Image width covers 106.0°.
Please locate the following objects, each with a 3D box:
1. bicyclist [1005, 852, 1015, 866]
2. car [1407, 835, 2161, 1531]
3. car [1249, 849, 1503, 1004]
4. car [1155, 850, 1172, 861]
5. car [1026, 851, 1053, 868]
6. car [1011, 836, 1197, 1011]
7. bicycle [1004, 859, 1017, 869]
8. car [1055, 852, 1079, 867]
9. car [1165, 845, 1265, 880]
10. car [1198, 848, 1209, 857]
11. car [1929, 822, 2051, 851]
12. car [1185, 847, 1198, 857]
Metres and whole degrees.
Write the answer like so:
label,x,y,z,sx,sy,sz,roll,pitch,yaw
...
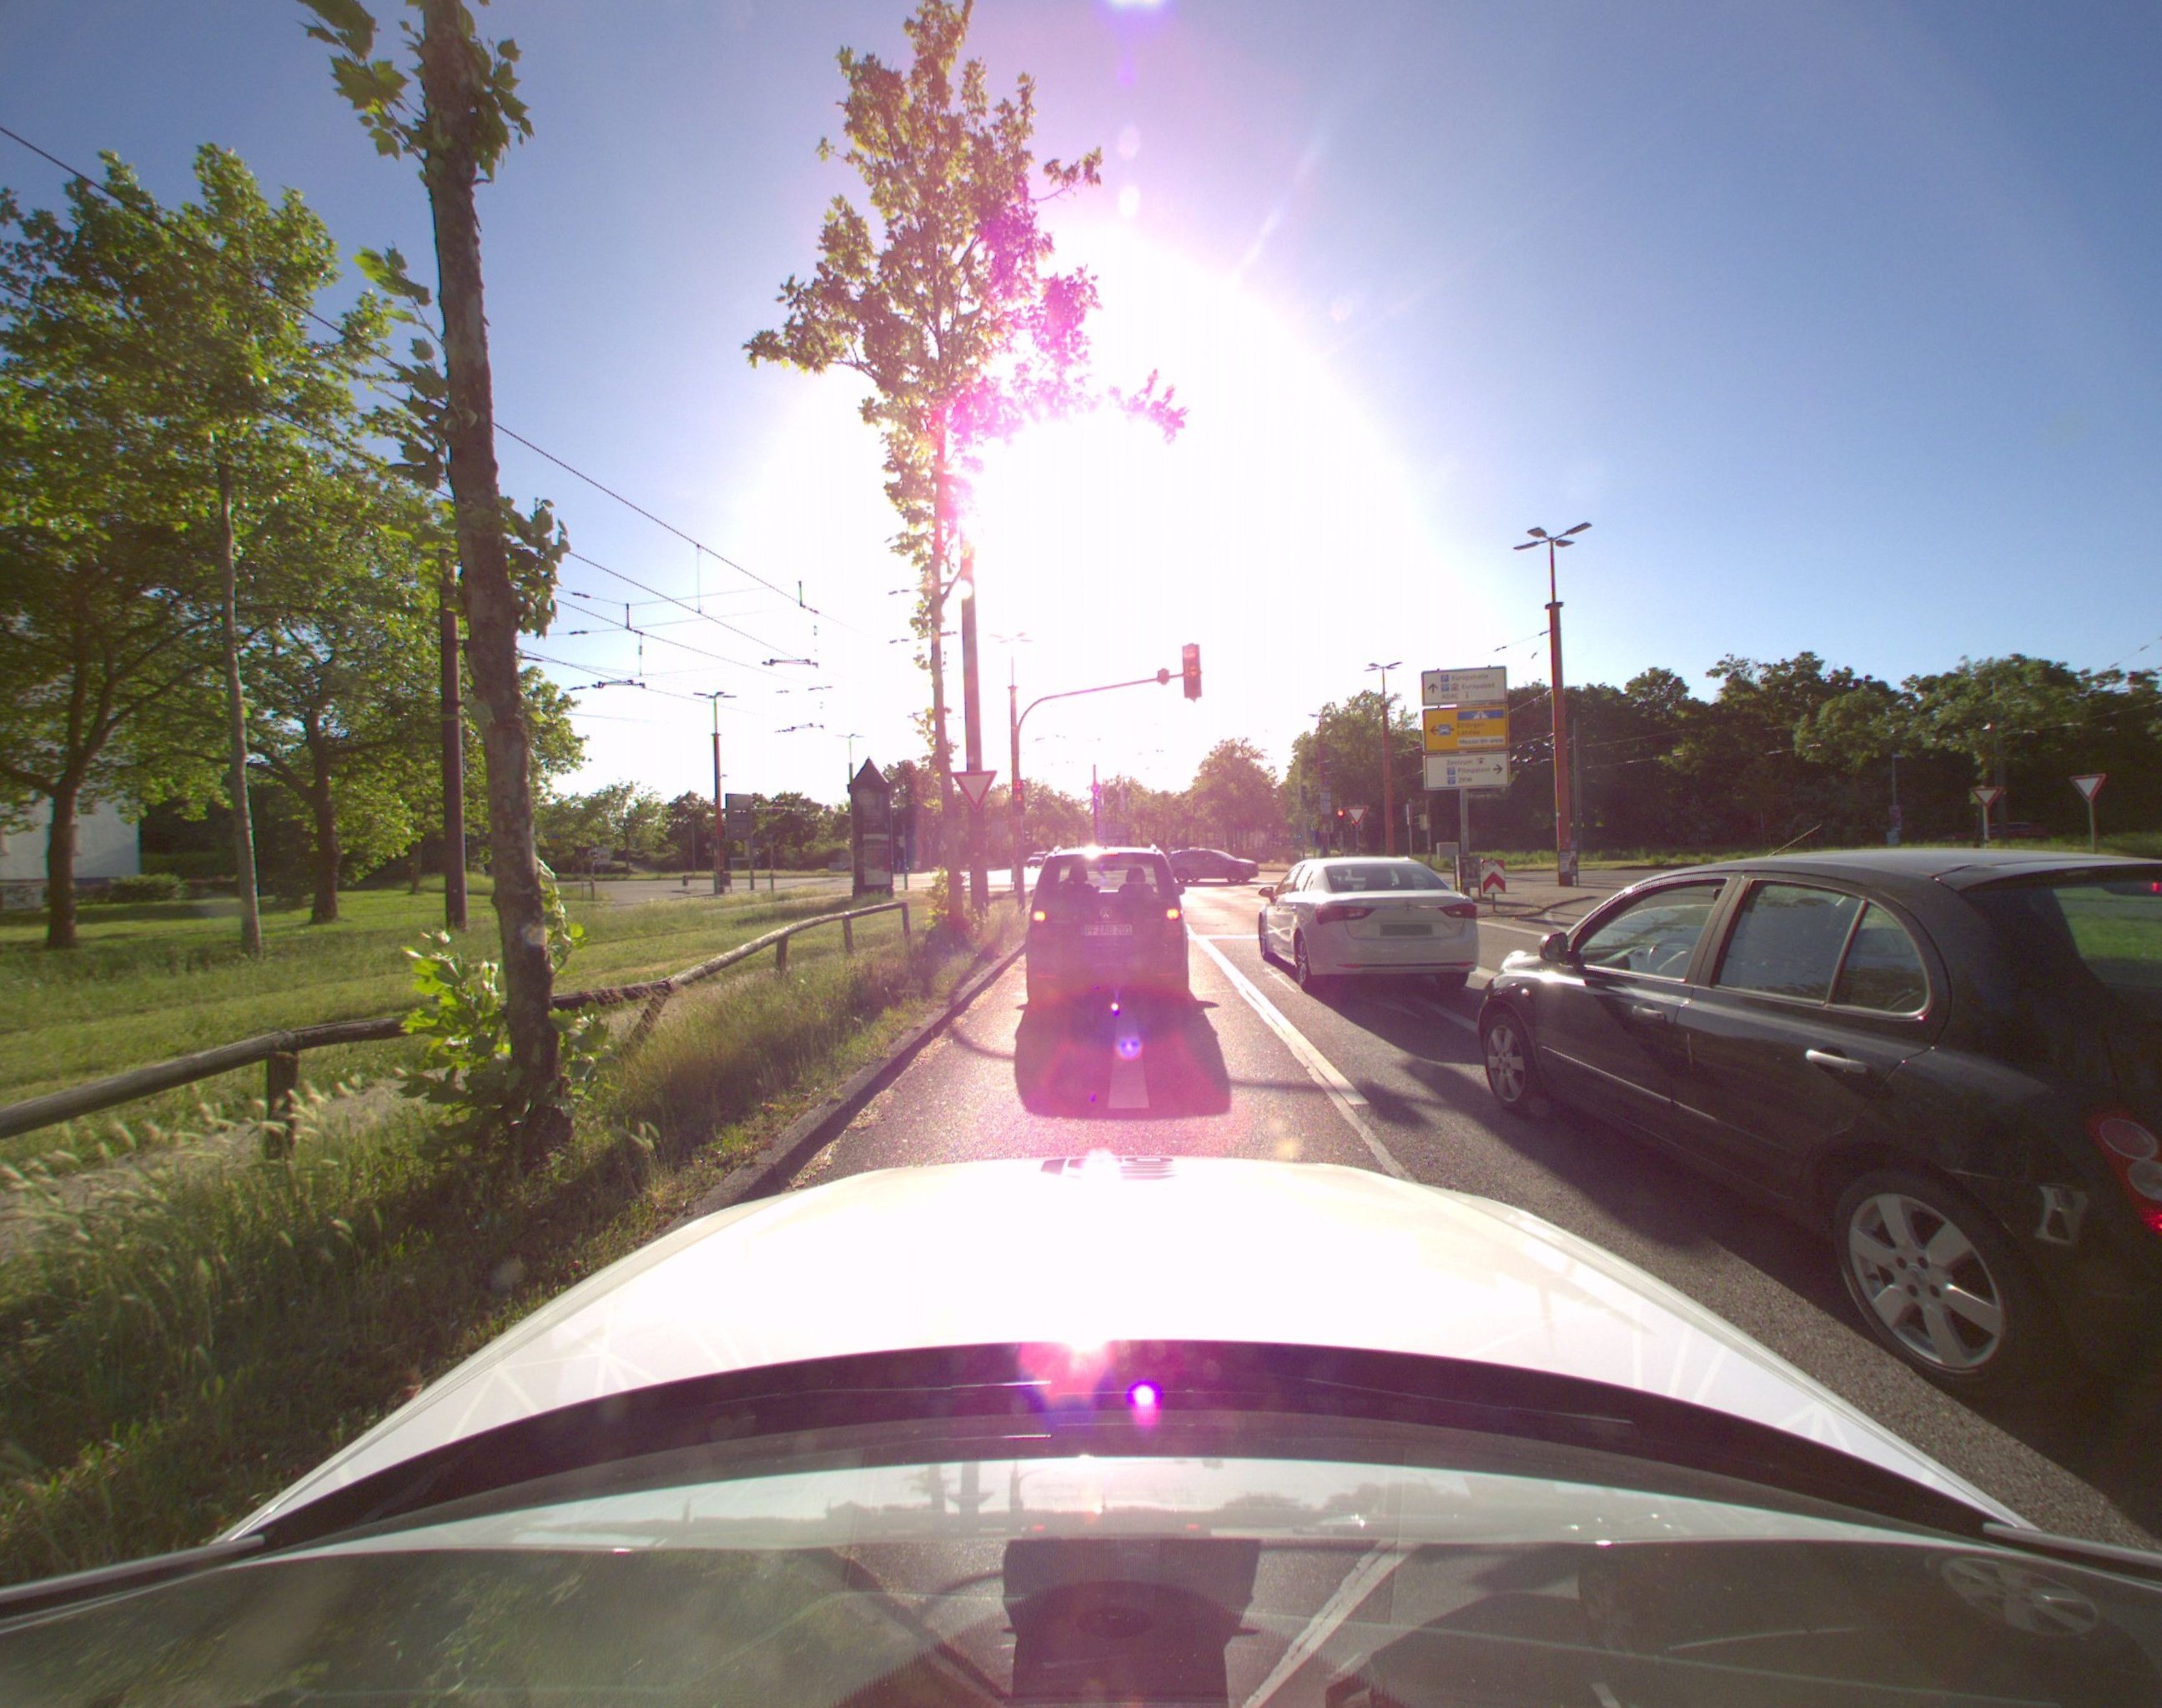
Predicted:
label,x,y,z,sx,sy,sz,roll,pitch,yaw
bicyclist,-8.204,0.604,94.699,0.753,1.557,0.986,-2,1,19
car,3.269,0.691,3.849,1.728,1.482,4.625,-2,0,2
car,3.311,0.696,10.095,1.760,1.464,4.370,-2,0,3
car,10.412,0.185,102.802,1.779,1.388,4.060,-1,1,9
car,-4.792,0.614,93.890,1.889,1.726,4.669,-2,0,12
car,0.318,0.660,10.357,1.761,1.644,4.926,-2,0,2
bicycle,-8.203,1.191,94.625,0.757,1.091,2.025,-2,1,19
car,-1.531,0.593,91.635,1.756,1.538,4.104,-2,0,11
car,6.892,0.442,41.965,4.633,1.704,2.012,-2,0,29
car,21.139,-0.250,140.617,1.780,1.388,4.057,-1,1,6
car,52.330,-0.990,47.013,4.234,1.495,2.013,-2,0,29
car,16.524,-0.340,122.132,1.780,1.502,4.057,-1,1,7
